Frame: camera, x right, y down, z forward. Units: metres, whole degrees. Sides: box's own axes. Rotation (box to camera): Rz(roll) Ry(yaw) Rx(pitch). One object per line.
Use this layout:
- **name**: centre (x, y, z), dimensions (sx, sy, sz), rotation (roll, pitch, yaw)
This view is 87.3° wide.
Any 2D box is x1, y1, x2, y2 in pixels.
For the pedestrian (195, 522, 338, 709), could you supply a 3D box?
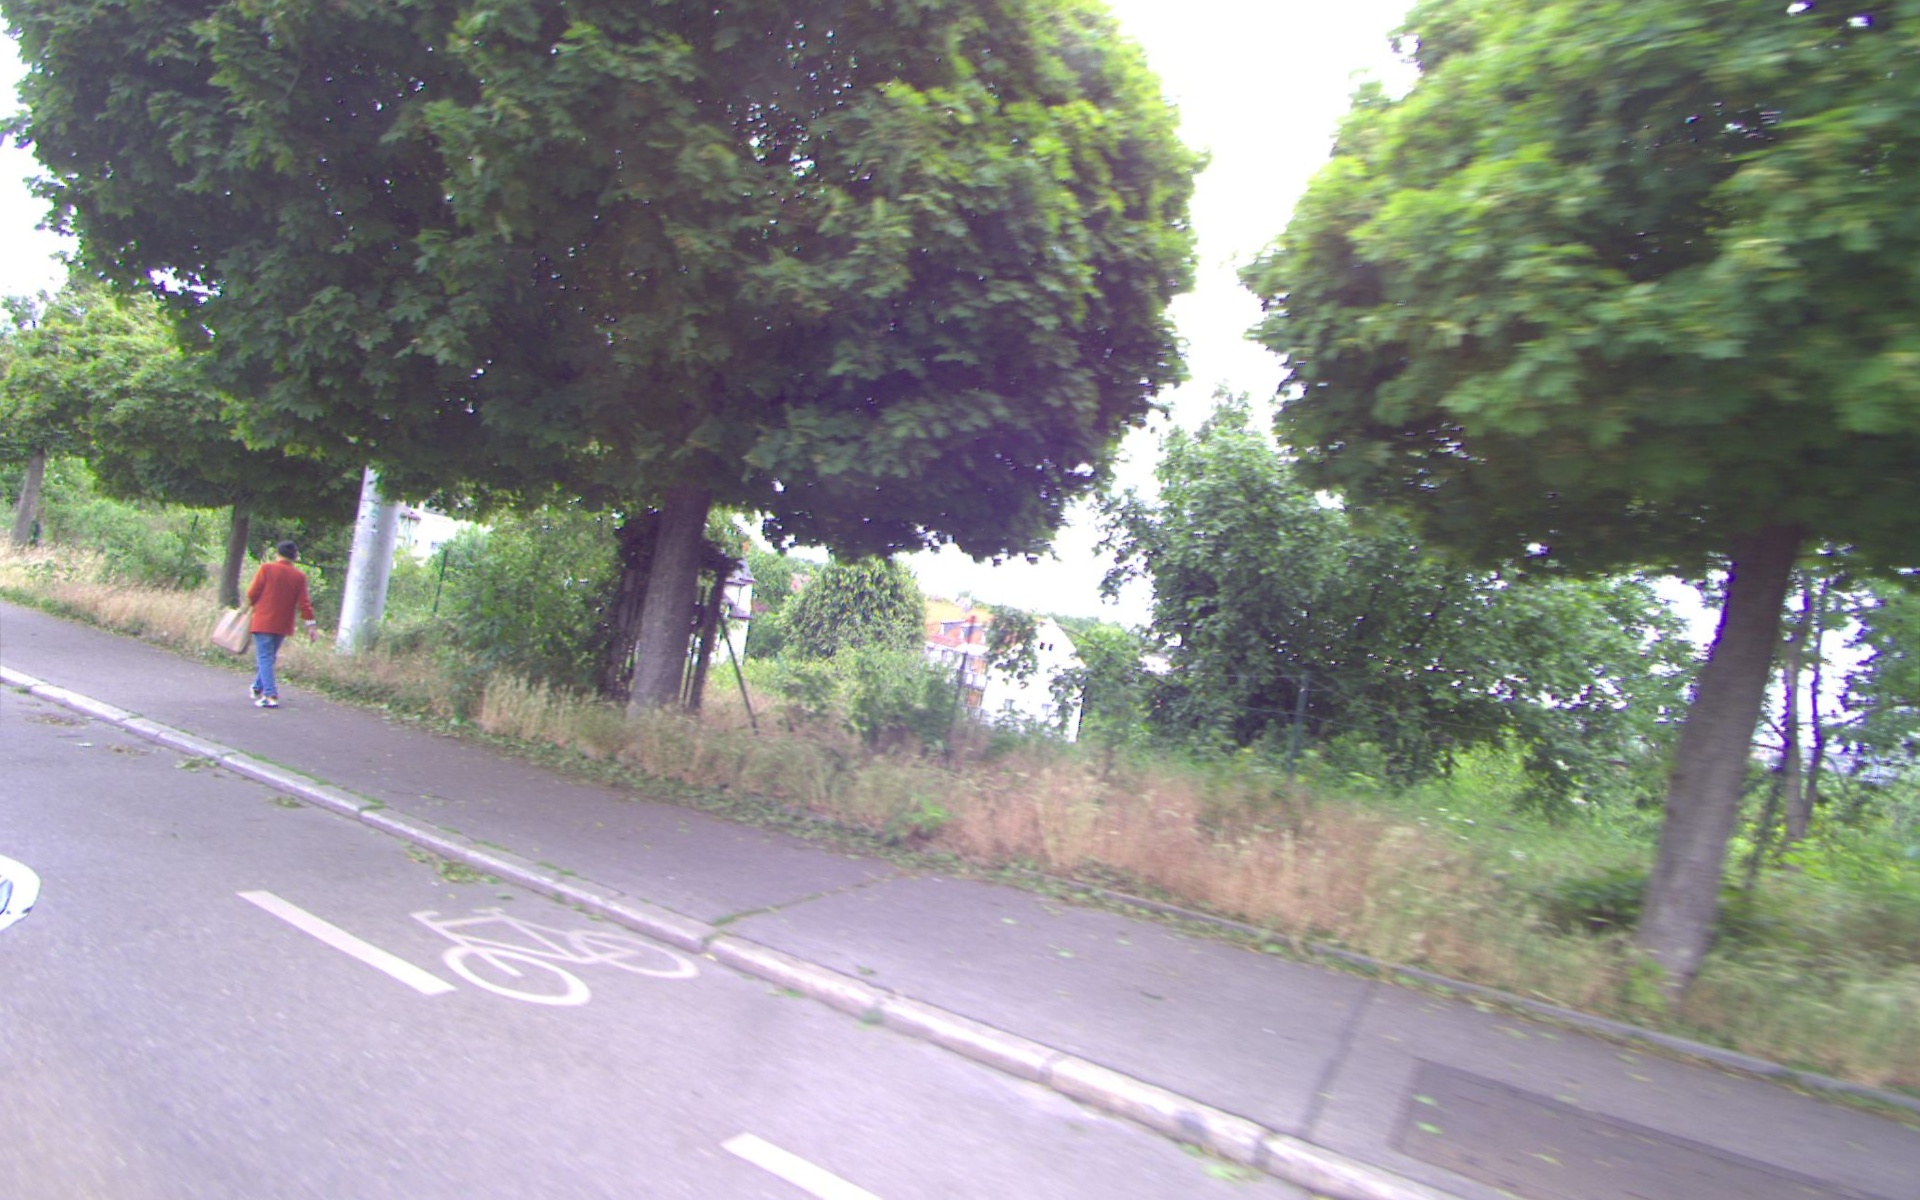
- **pedestrian**: centre (-6.538, 0.152, 9.497), dimensions (0.706, 1.639, 0.716), rotation (7, -1, 31)
